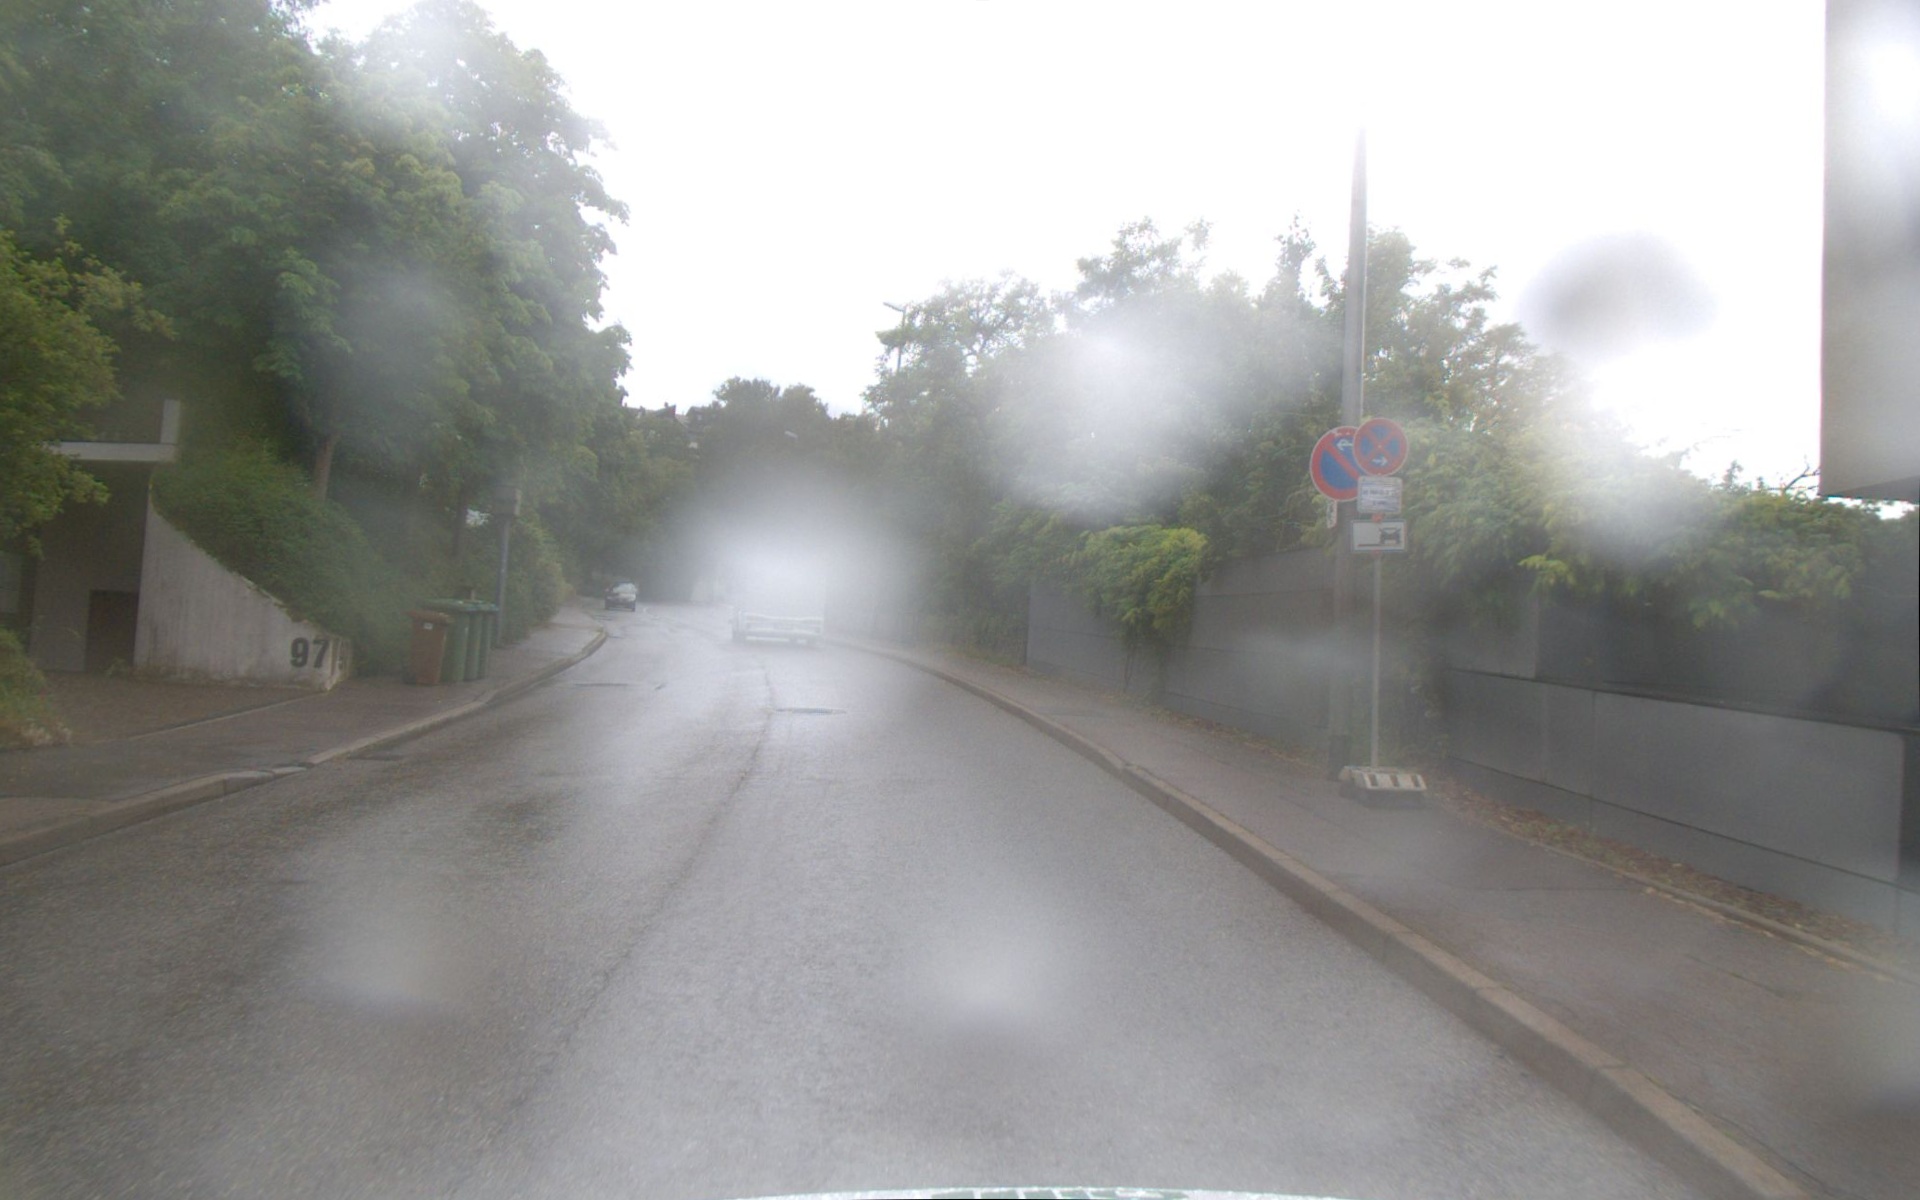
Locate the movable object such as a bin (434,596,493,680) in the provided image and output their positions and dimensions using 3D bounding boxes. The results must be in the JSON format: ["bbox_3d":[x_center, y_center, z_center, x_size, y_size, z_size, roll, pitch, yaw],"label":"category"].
[{"bbox_3d":[-6.872,0.513,22.907,0.635,1.123,0.672,2,0,-6],"label":"movable object such as a bin"}]

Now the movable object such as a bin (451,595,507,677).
[{"bbox_3d":[-6.842,0.503,23.546,0.635,1.135,0.504,2,0,-6],"label":"movable object such as a bin"}]

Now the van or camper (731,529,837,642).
[{"bbox_3d":[-5.113,-0.348,47.244,2.495,2.976,5.931,1,-1,-11],"label":"van or camper"}]

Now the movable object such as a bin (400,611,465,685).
[{"bbox_3d":[-6.825,0.616,21.418,0.635,0.927,0.672,2,0,-6],"label":"movable object such as a bin"}]

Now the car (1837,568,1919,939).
[{"bbox_3d":[6.221,0.754,7.245,1.954,1.975,4.768,1,-3,-4],"label":"car"}]

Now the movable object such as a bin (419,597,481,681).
[{"bbox_3d":[-6.839,0.516,22.199,0.635,1.099,0.672,2,0,-6],"label":"movable object such as a bin"}]

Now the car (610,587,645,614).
[{"bbox_3d":[-18.137,0.026,90.278,1.620,1.409,3.523,3,0,-8],"label":"car"}]
